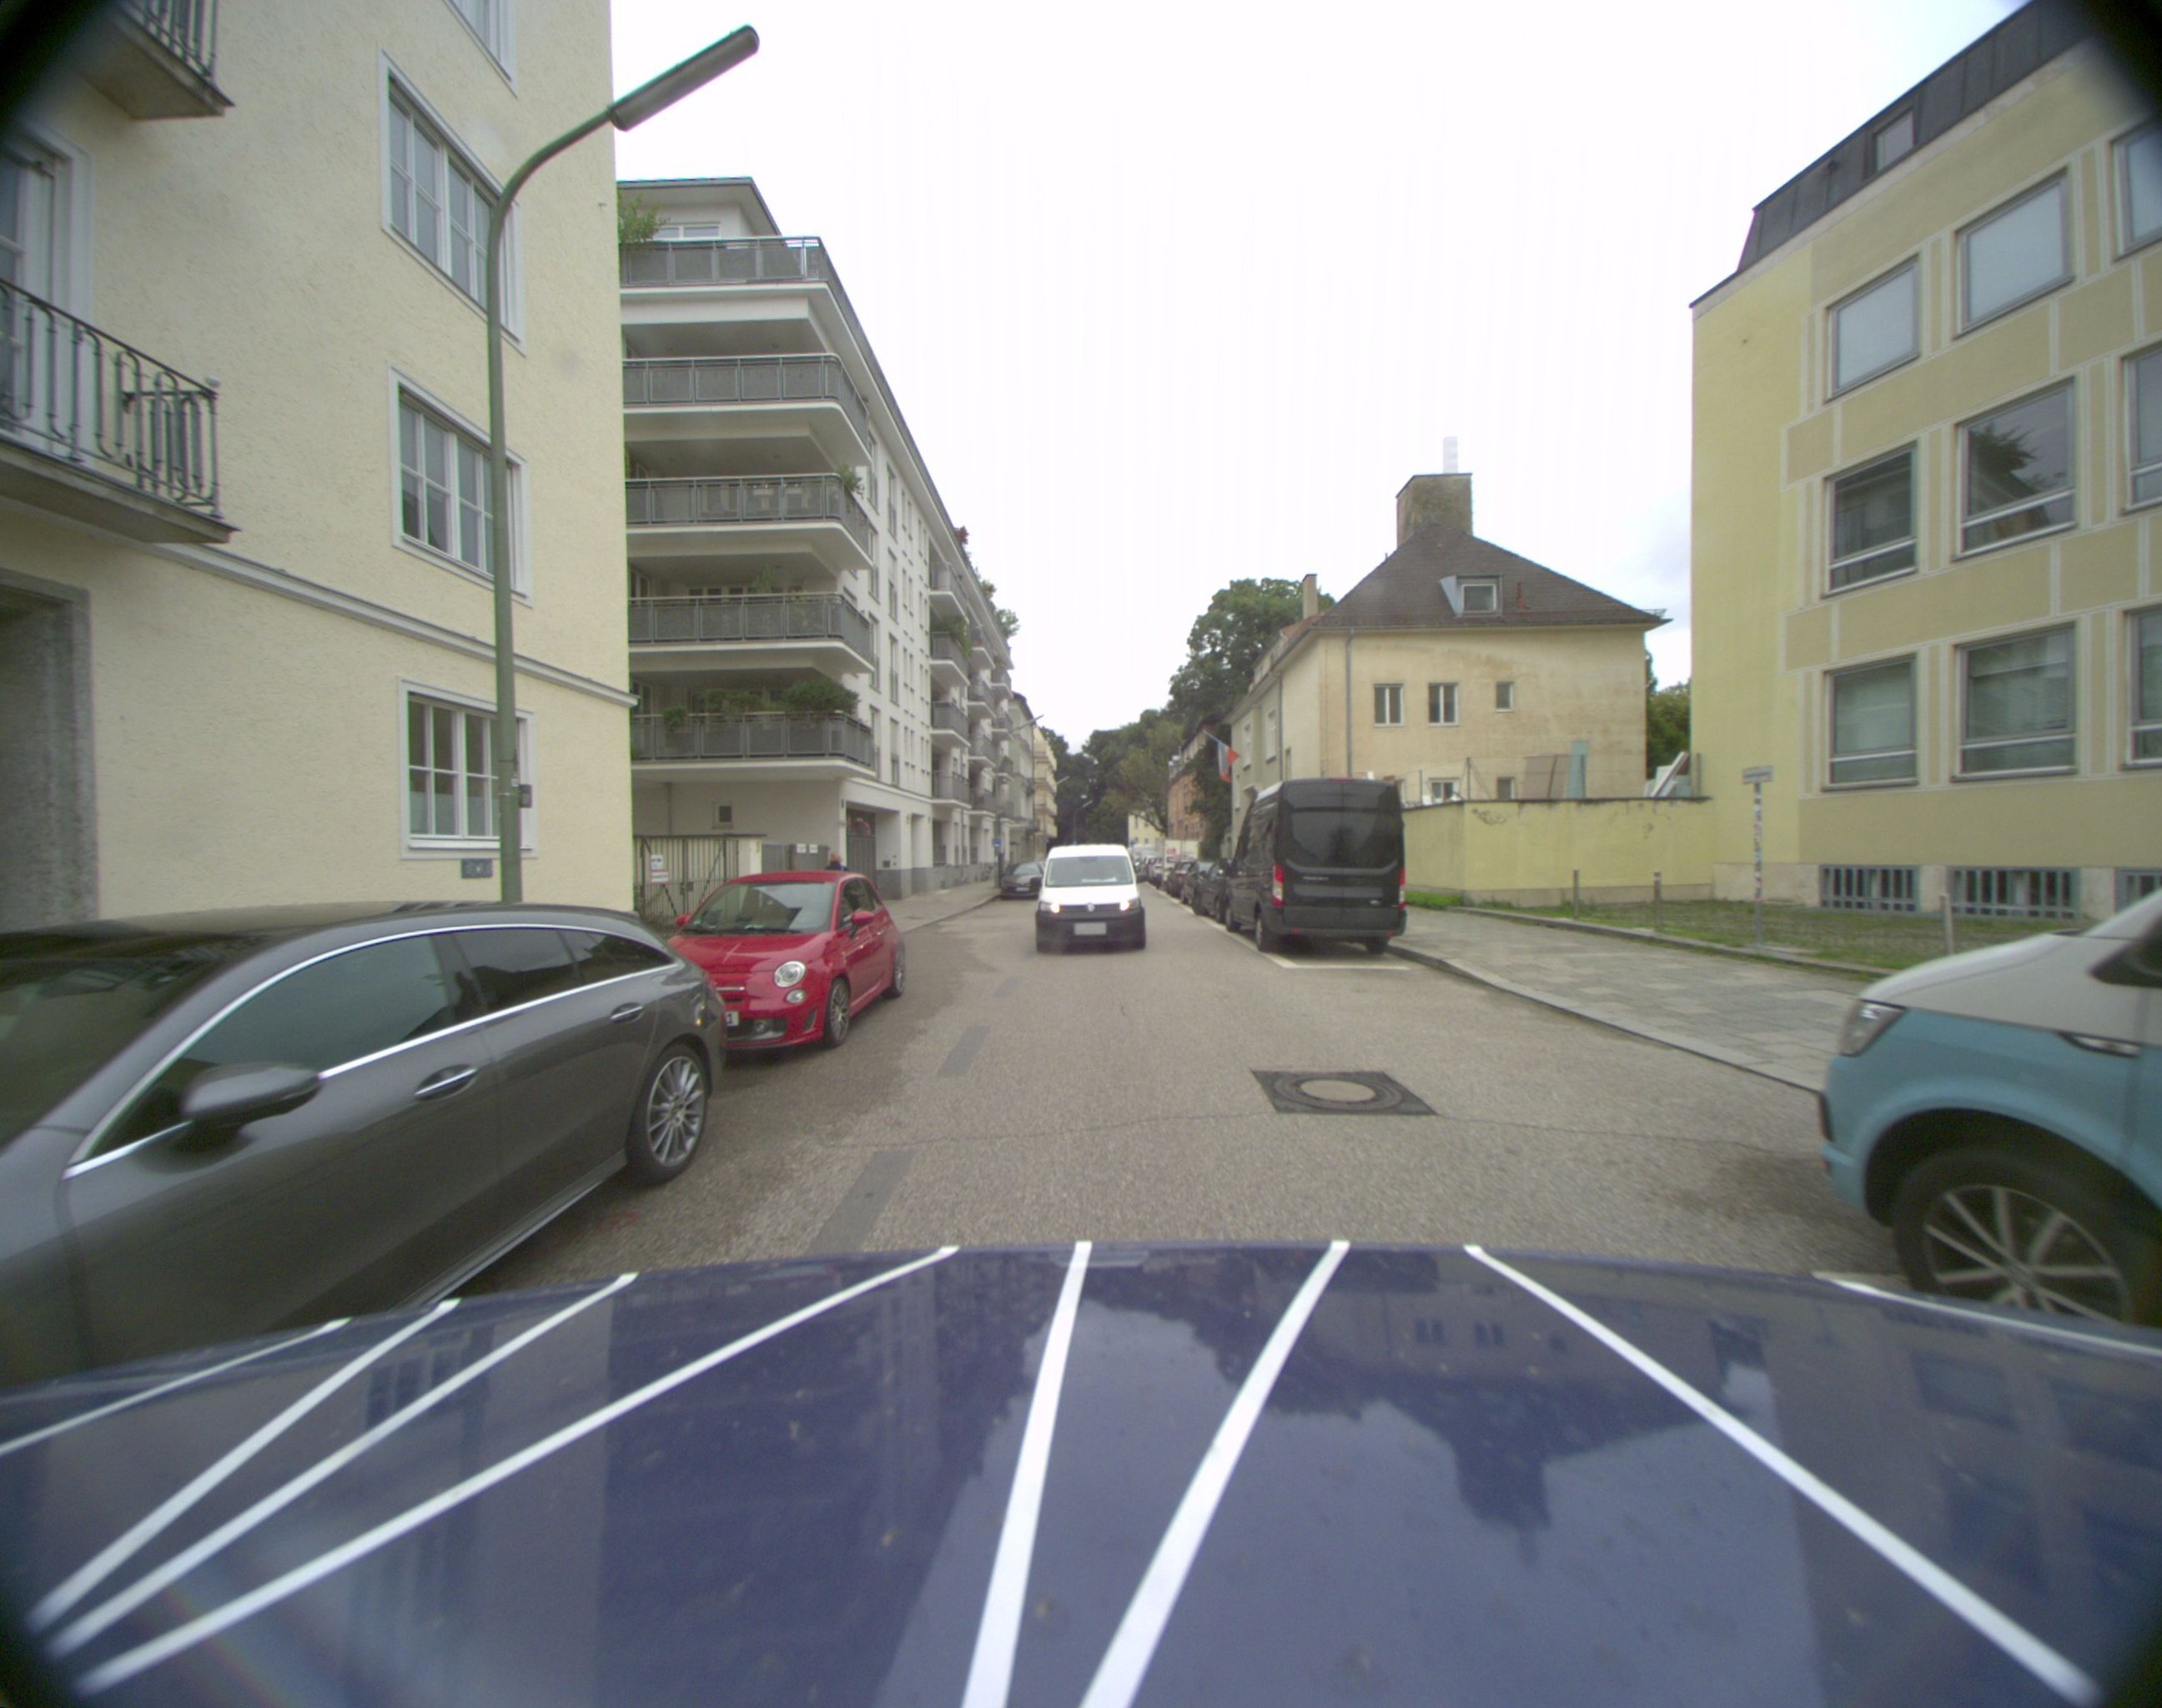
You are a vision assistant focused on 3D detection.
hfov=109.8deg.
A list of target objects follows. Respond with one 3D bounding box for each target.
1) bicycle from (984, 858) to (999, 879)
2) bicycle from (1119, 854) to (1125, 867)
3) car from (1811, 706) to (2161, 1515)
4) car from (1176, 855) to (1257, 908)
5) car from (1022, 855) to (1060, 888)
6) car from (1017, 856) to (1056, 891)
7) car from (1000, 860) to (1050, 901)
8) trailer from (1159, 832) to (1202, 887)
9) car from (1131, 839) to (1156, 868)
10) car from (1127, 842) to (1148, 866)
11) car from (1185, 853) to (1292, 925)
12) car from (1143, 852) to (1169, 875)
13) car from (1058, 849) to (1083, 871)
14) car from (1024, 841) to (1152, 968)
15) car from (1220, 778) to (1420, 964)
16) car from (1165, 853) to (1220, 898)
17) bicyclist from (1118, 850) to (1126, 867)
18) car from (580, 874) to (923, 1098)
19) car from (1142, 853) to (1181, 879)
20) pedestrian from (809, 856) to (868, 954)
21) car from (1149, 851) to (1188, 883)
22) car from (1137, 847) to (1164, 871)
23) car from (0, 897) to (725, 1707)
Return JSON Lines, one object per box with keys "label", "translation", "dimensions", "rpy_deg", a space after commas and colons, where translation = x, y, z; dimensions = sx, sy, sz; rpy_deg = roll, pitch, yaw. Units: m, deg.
{"label": "bicycle", "translation": [-5.251, 0.850, 44.806], "dimensions": [0.629, 1.153, 2.127], "rpy_deg": [-1, 1, -1]}
{"label": "bicycle", "translation": [3.638, 0.596, 67.630], "dimensions": [0.505, 1.122, 1.773], "rpy_deg": [0, 0, 4]}
{"label": "car", "translation": [3.547, 0.616, 0.363], "dimensions": [1.887, 1.920, 4.600], "rpy_deg": [1, 0, -1]}
{"label": "car", "translation": [4.097, 0.793, 23.503], "dimensions": [1.705, 1.437, 3.824], "rpy_deg": [-2, 0, -1]}
{"label": "car", "translation": [-2.089, 0.884, 40.908], "dimensions": [1.738, 1.521, 4.621], "rpy_deg": [-4, 0, 0]}
{"label": "car", "translation": [-2.079, 0.933, 36.244], "dimensions": [1.523, 1.521, 3.527], "rpy_deg": [-3, -1, 1]}
{"label": "car", "translation": [-2.228, 1.030, 30.954], "dimensions": [1.768, 1.400, 4.077], "rpy_deg": [-2, 1, -1]}
{"label": "trailer", "translation": [4.643, 0.228, 35.972], "dimensions": [1.713, 2.447, 4.387], "rpy_deg": [1, 0, 4]}
{"label": "car", "translation": [5.625, -0.058, 68.598], "dimensions": [1.986, 2.464, 5.223], "rpy_deg": [0, 1, 2]}
{"label": "car", "translation": [6.229, -0.004, 84.629], "dimensions": [2.118, 2.525, 4.422], "rpy_deg": [2, 0, 2]}
{"label": "car", "translation": [3.767, 0.776, 18.778], "dimensions": [1.590, 1.529, 3.541], "rpy_deg": [-1, 1, -6]}
{"label": "car", "translation": [5.113, 0.629, 52.156], "dimensions": [1.477, 1.458, 3.313], "rpy_deg": [0, 1, 0]}
{"label": "car", "translation": [-0.880, 0.513, 68.801], "dimensions": [1.858, 1.885, 4.592], "rpy_deg": [-3, 0, 3]}
{"label": "car", "translation": [0.204, 0.723, 12.860], "dimensions": [1.776, 1.761, 4.001], "rpy_deg": [-2, 0, 3]}
{"label": "car", "translation": [3.904, 0.260, 13.566], "dimensions": [2.093, 2.620, 5.378], "rpy_deg": [-1, 0, 3]}
{"label": "car", "translation": [4.281, 0.773, 29.717], "dimensions": [1.770, 1.529, 4.541], "rpy_deg": [1, 1, 4]}
{"label": "bicyclist", "translation": [3.646, 0.399, 67.612], "dimensions": [0.695, 1.552, 0.967], "rpy_deg": [0, 1, 4]}
{"label": "car", "translation": [-2.819, 1.026, 7.481], "dimensions": [1.599, 1.500, 3.801], "rpy_deg": [-1, 0, 2]}
{"label": "car", "translation": [4.875, 0.706, 46.552], "dimensions": [1.865, 1.404, 4.332], "rpy_deg": [1, 1, -1]}
{"label": "pedestrian", "translation": [-4.494, 0.923, 14.115], "dimensions": [0.796, 1.718, 0.672], "rpy_deg": [-3, 2, -2]}
{"label": "car", "translation": [4.638, 0.666, 40.864], "dimensions": [1.691, 1.594, 3.921], "rpy_deg": [1, 1, 1]}
{"label": "car", "translation": [5.250, 0.368, 58.135], "dimensions": [1.694, 1.793, 4.145], "rpy_deg": [0, 0, 0]}
{"label": "car", "translation": [-2.888, 1.028, 2.131], "dimensions": [1.697, 1.483, 4.342], "rpy_deg": [-1, 1, 0]}
